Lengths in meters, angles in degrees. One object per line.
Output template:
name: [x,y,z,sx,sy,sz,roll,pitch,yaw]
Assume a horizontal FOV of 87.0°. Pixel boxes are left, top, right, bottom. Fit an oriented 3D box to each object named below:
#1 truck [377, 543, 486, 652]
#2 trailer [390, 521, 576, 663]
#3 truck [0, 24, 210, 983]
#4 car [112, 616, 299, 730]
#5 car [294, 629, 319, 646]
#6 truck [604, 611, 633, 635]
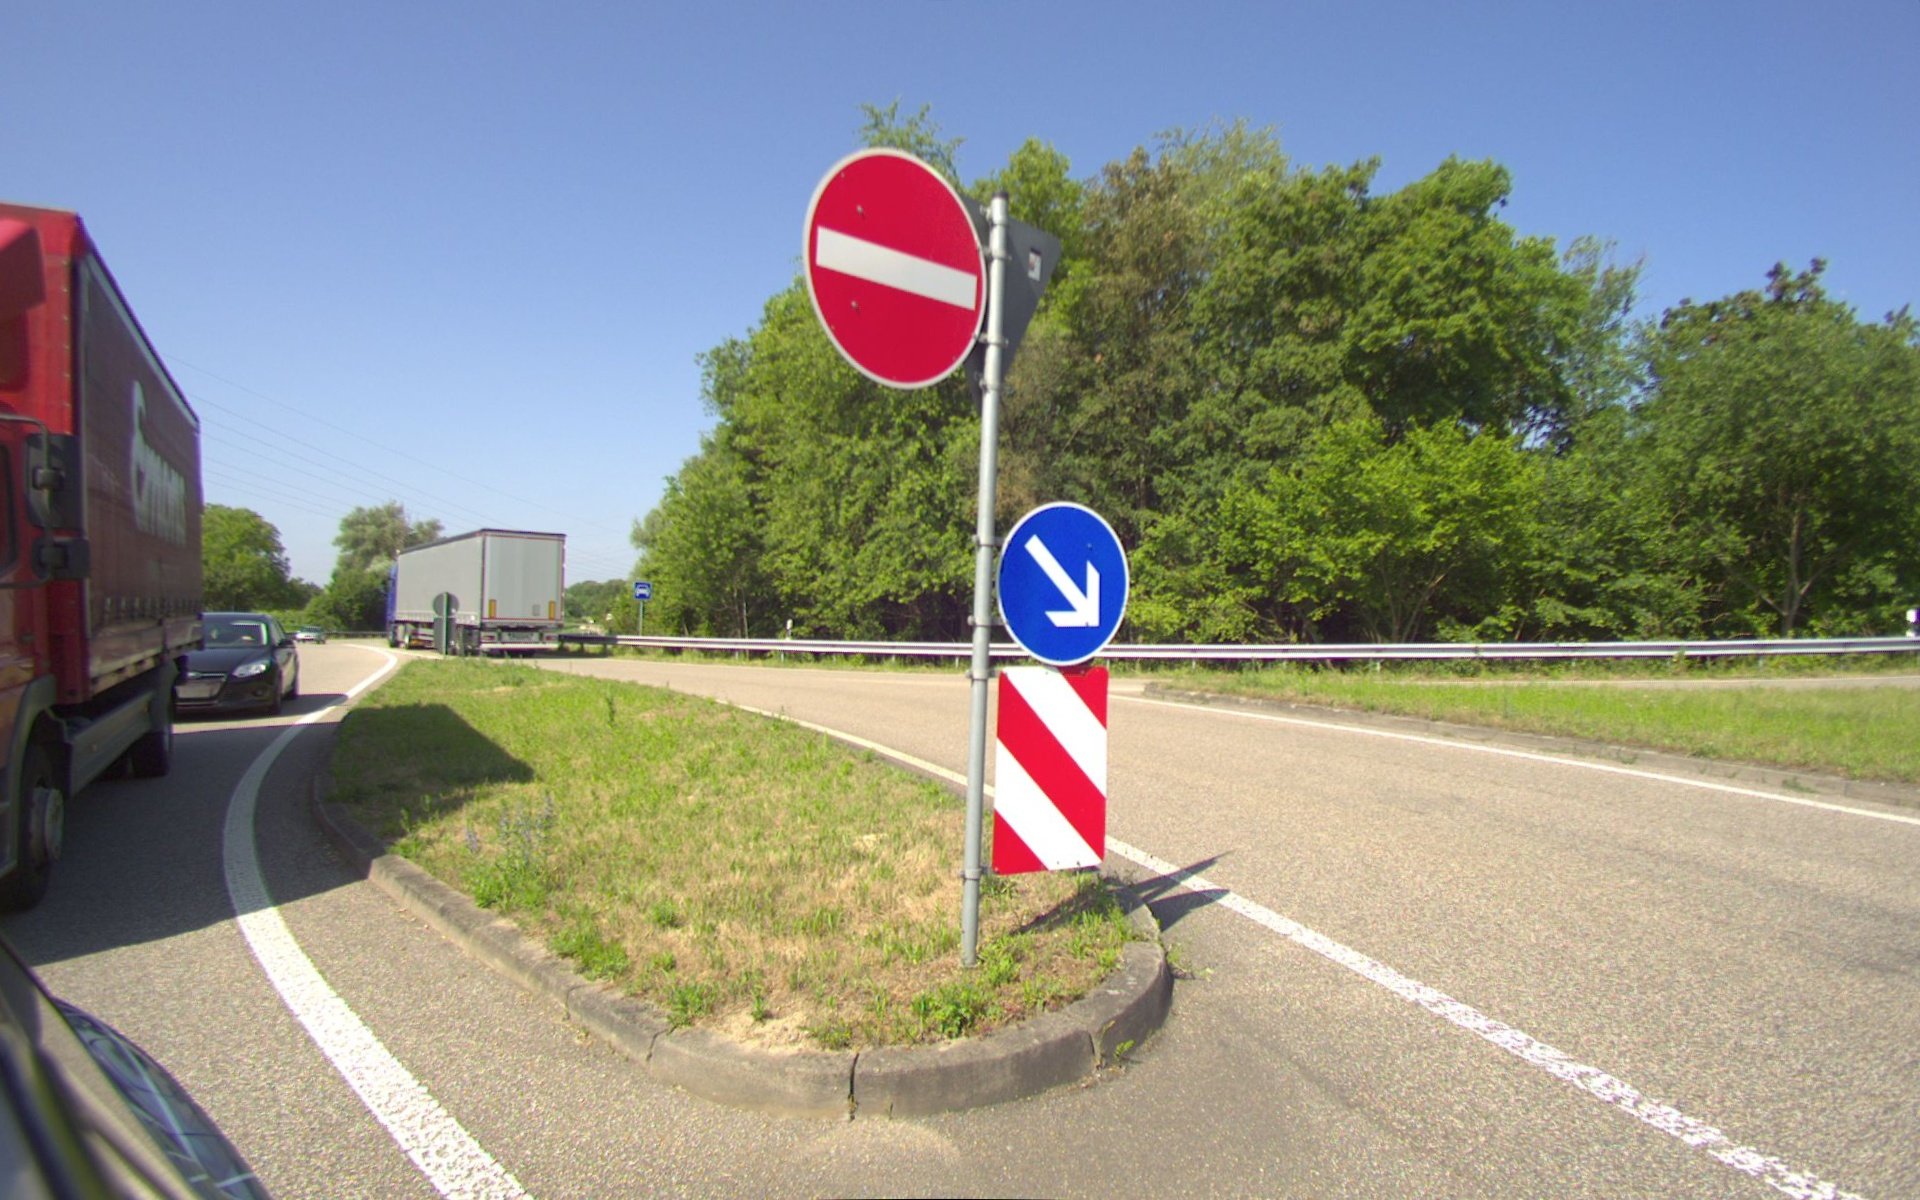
truck: [-22.398,-0.011,42.753,2.893,4.279,5.743,3,-3,-39]
trailer: [-17.884,-0.066,37.062,2.912,4.300,14.007,3,-3,-38]
truck: [-7.264,-0.311,7.090,2.646,3.689,9.288,0,-1,-33]
car: [-10.958,0.960,14.968,1.758,1.425,4.012,0,-1,-30]
car: [-56.065,3.196,86.863,1.758,1.396,4.390,0,-1,-33]
truck: [-62.489,4.306,185.343,2.904,4.270,5.724,1,-2,5]
